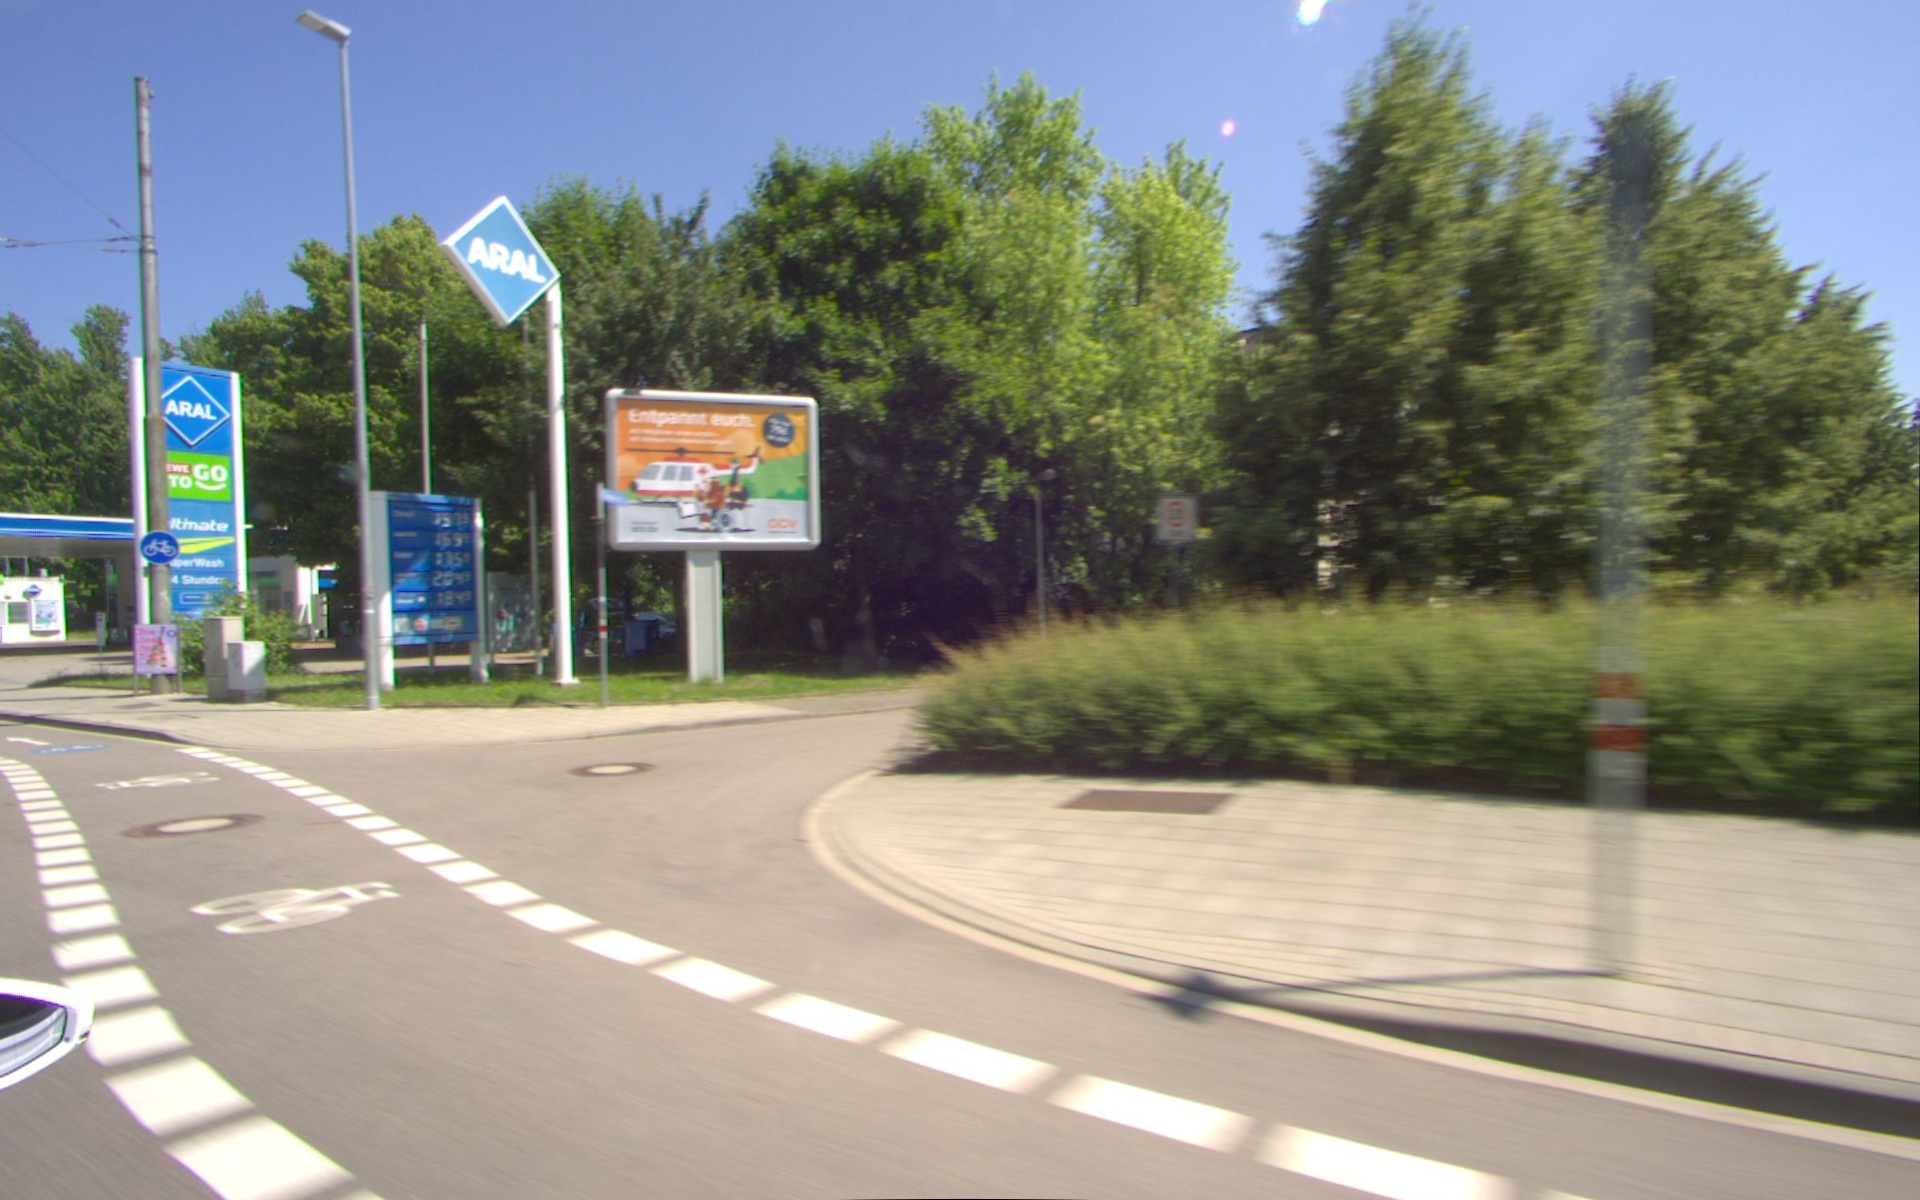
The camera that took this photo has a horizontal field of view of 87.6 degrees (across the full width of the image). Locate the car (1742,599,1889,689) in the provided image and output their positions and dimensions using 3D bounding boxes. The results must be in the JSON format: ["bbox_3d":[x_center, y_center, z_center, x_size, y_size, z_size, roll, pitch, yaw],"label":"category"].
[{"bbox_3d":[16.393,0.762,19.331,1.976,1.541,4.195,-1,0,39],"label":"car"}]

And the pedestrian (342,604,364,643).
[{"bbox_3d":[-29.800,1.145,49.183,0.825,1.914,0.623,1,1,32],"label":"pedestrian"}]

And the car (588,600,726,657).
[{"bbox_3d":[-9.673,0.918,31.845,4.354,1.684,1.987,-2,-1,37],"label":"car"}]
